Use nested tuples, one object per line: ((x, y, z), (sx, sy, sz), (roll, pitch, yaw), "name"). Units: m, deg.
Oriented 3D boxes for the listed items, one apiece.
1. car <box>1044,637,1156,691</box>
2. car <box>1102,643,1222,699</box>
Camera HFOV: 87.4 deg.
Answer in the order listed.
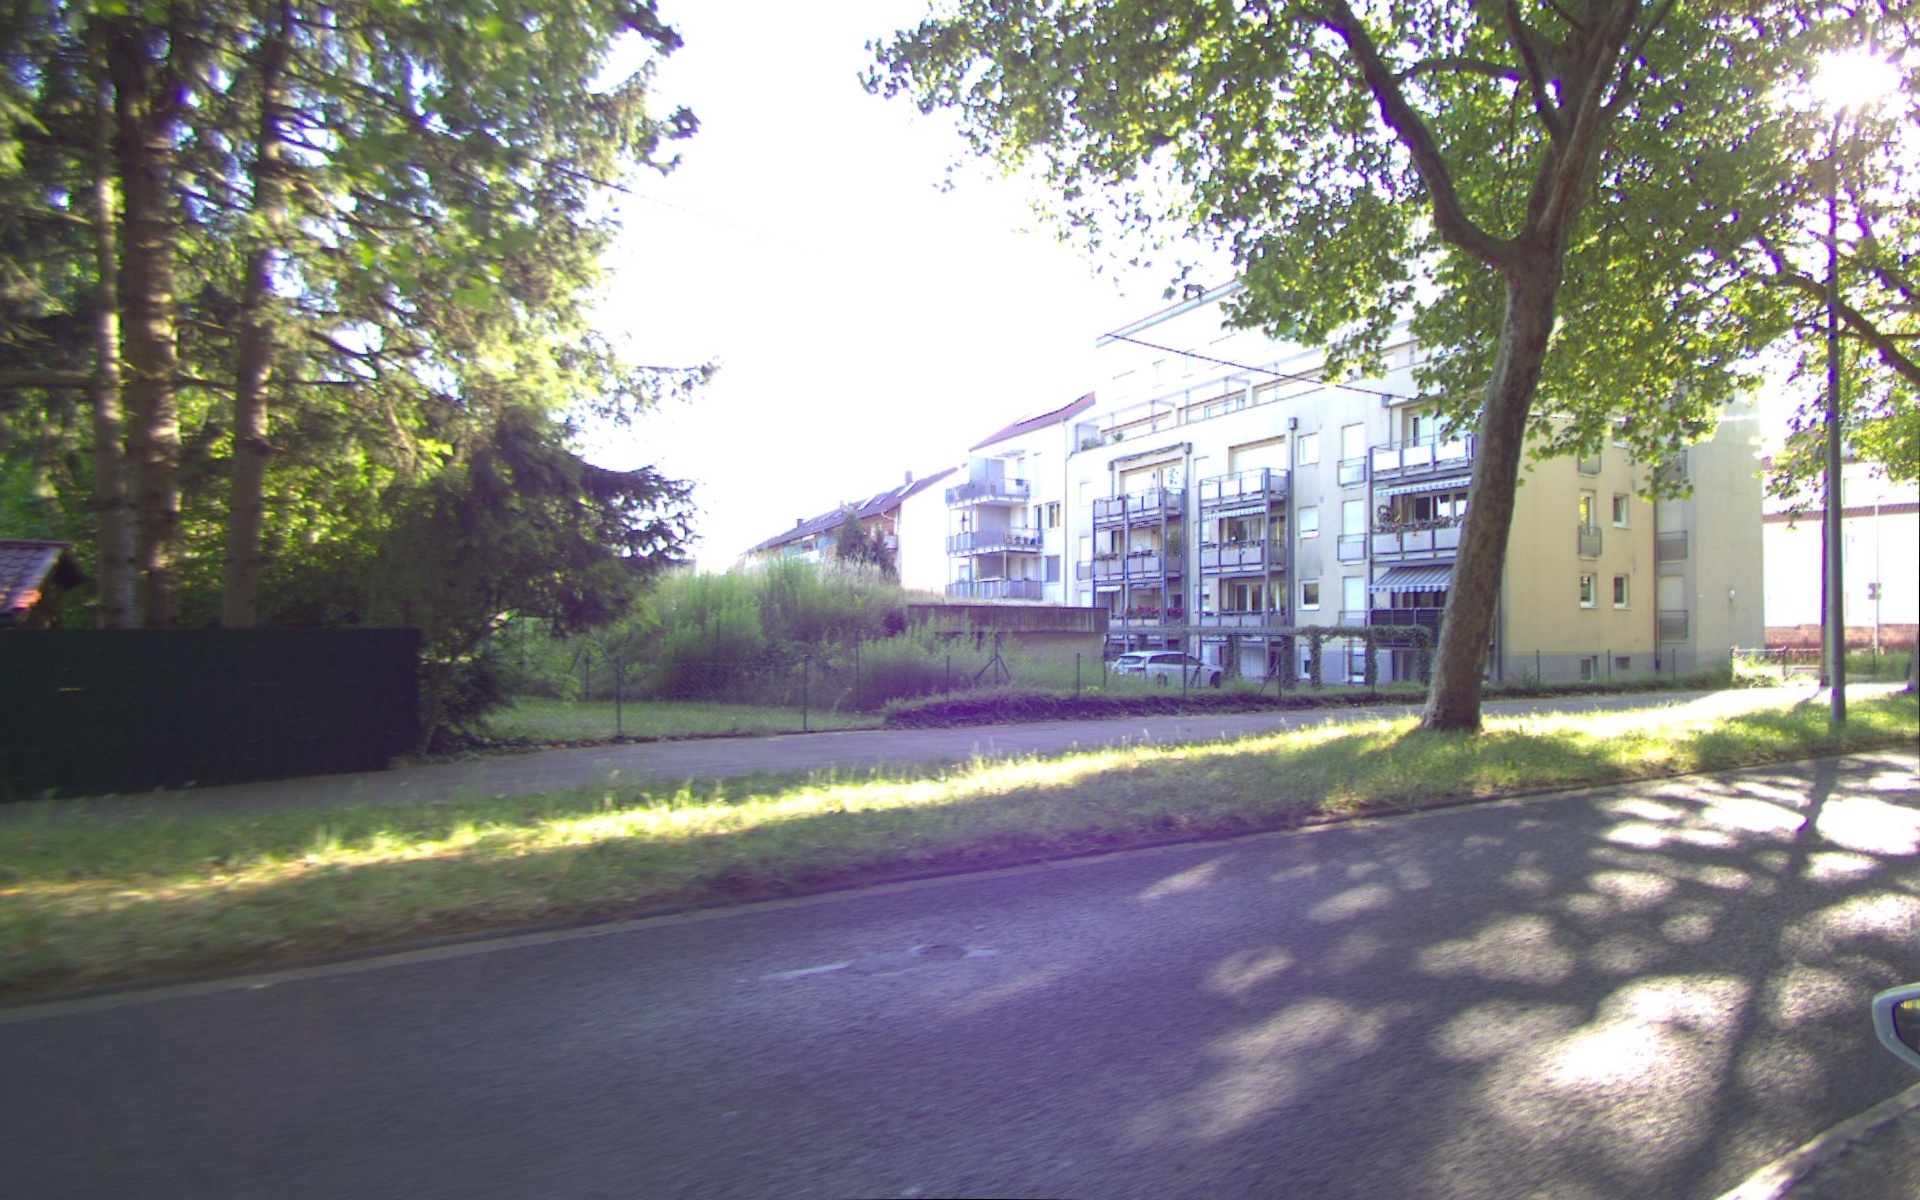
((5.341, 2.381, 38.184), (3.953, 1.871, 1.841), (0, 0, -30), "car")
((7.178, 2.474, 35.587), (3.957, 1.737, 1.982), (1, 0, -33), "car")
